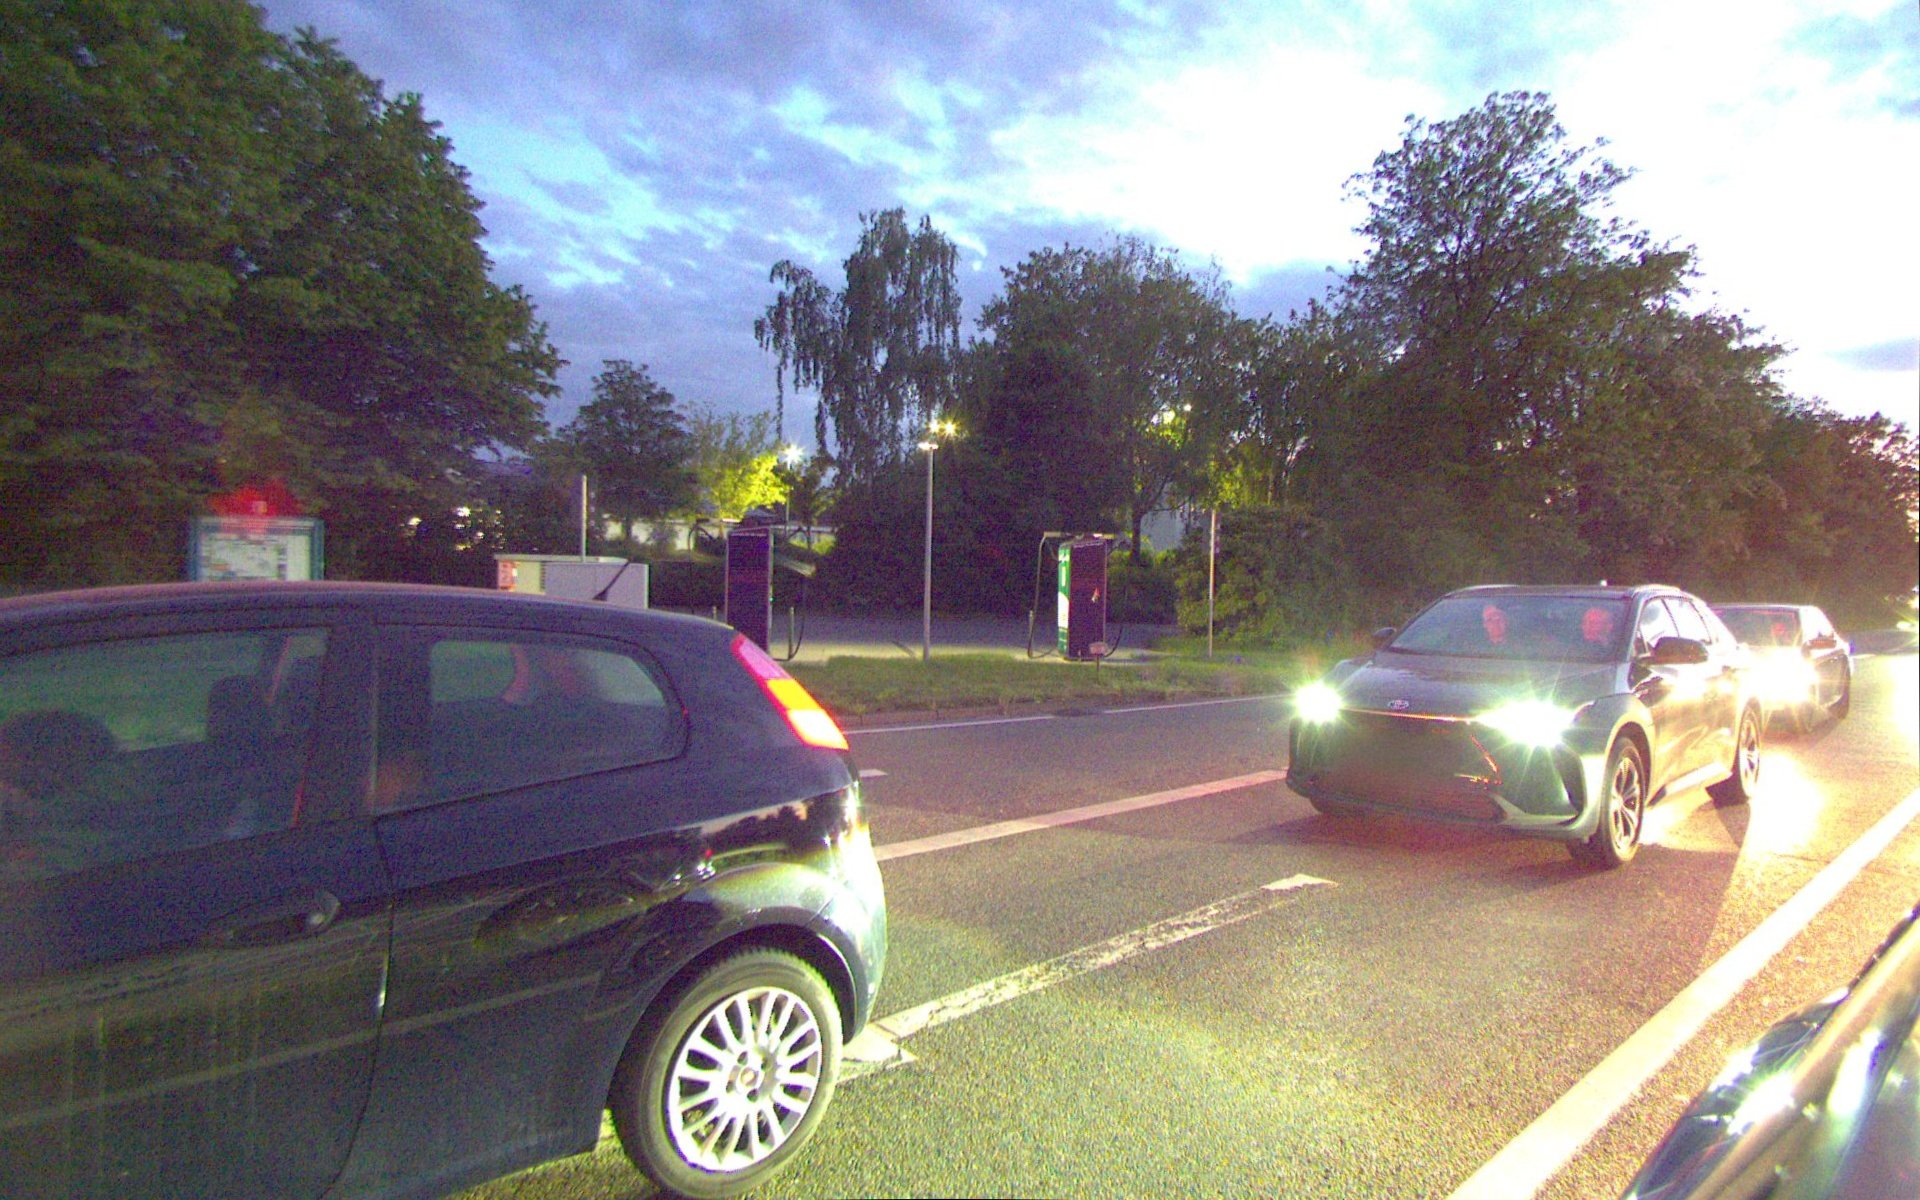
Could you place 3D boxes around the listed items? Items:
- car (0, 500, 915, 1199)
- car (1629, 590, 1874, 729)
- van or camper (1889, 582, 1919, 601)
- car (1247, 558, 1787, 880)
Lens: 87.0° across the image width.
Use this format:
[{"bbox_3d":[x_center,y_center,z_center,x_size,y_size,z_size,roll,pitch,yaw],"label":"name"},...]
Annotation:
[{"bbox_3d":[-2.054,0.611,2.178,3.648,1.556,1.662,1,0,-40],"label":"car"},{"bbox_3d":[9.769,0.631,12.409,3.688,1.431,1.621,1,1,-40],"label":"car"},{"bbox_3d":[166.169,-1.434,174.906,3.894,3.163,9.901,2,2,14],"label":"van or camper"},{"bbox_3d":[4.051,0.614,7.067,4.223,1.577,1.901,1,-1,-40],"label":"car"}]
